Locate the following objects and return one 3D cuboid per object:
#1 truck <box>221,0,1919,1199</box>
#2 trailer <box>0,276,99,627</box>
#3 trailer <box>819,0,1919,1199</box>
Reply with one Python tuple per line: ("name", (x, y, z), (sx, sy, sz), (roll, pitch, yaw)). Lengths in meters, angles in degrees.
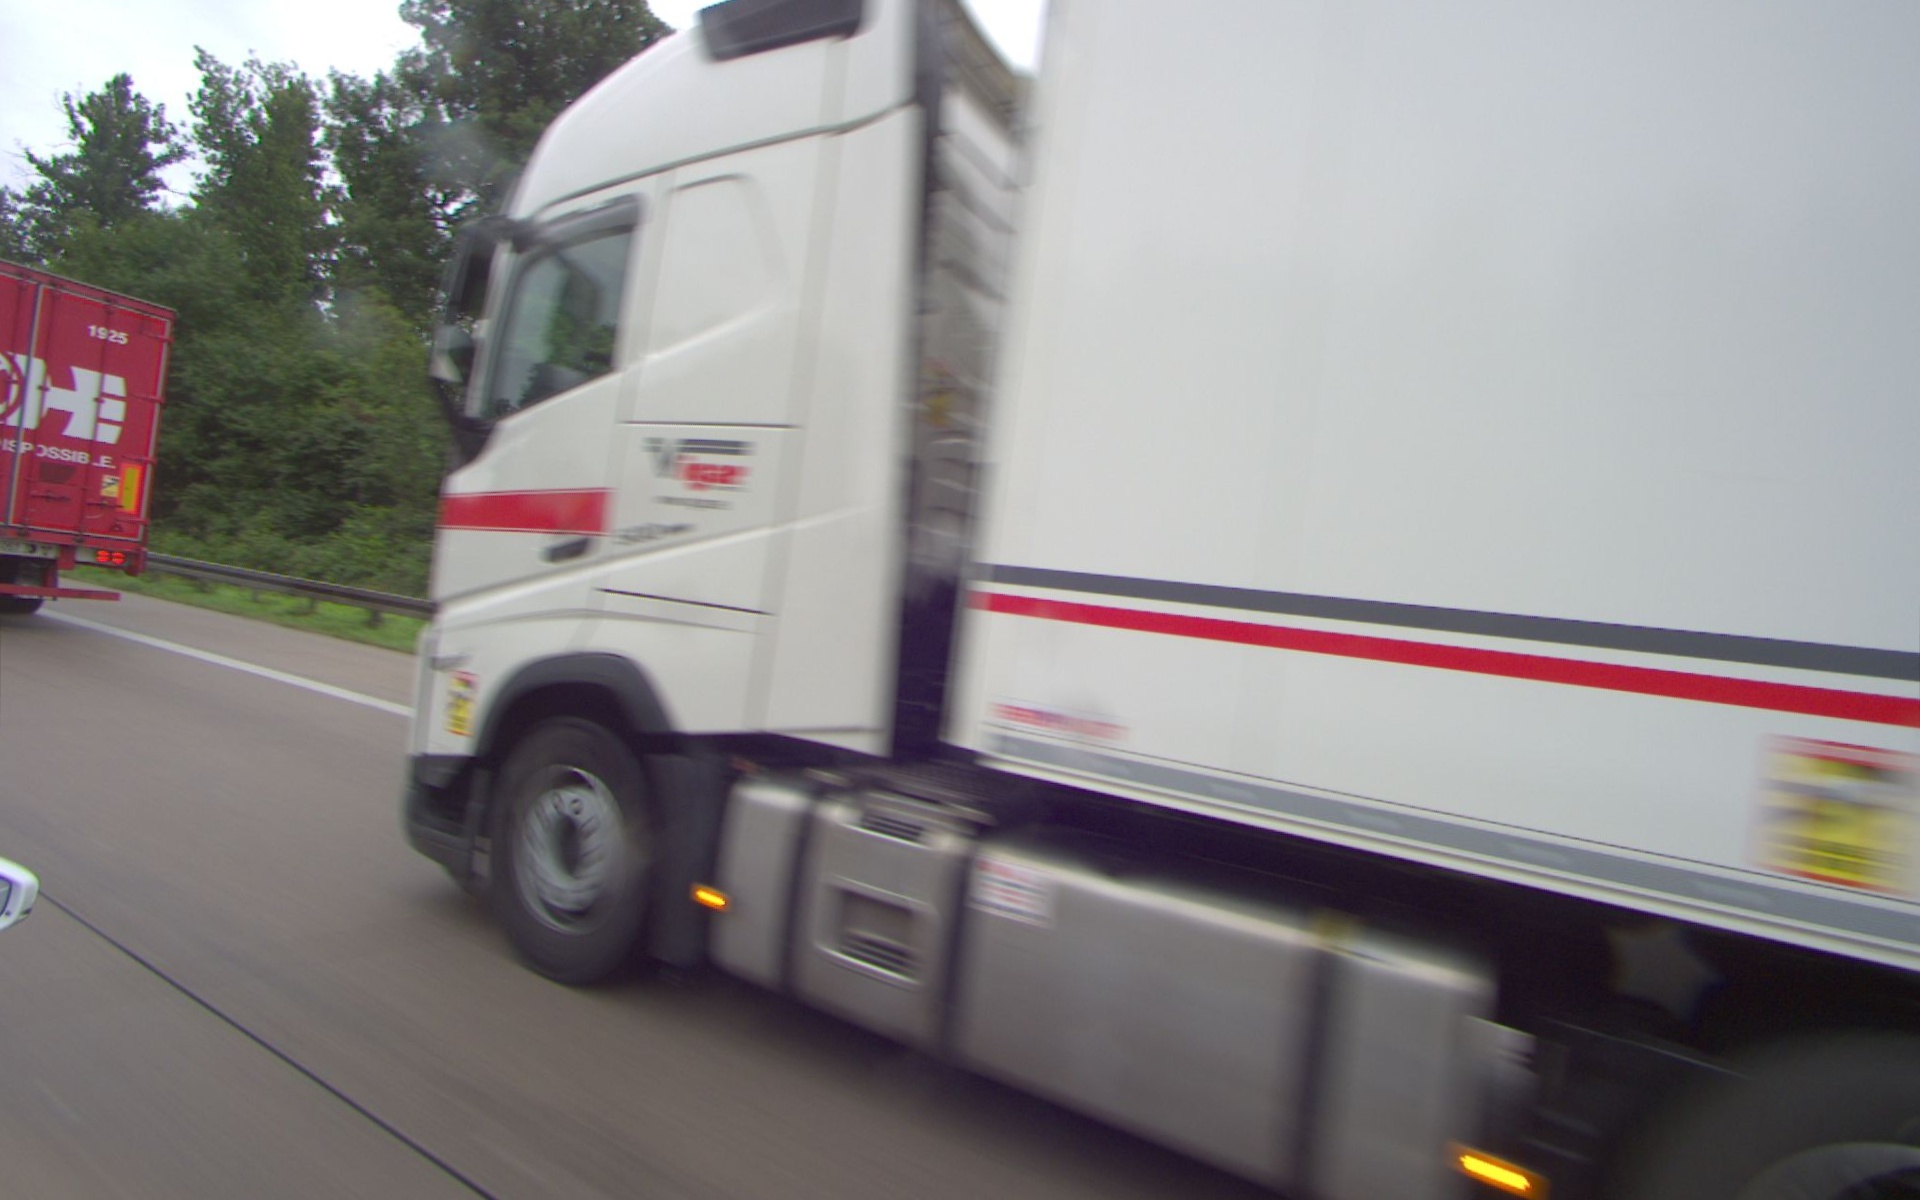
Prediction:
("truck", (0.295, -0.500, 4.030), (5.867, 4.152, 2.804), (7, -1, 30))
("trailer", (-16.704, -2.387, 14.413), (12.308, 4.000, 2.375), (7, -1, 30))
("trailer", (6.293, 0.211, 0.355), (13.453, 4.152, 2.739), (7, -1, 31))
